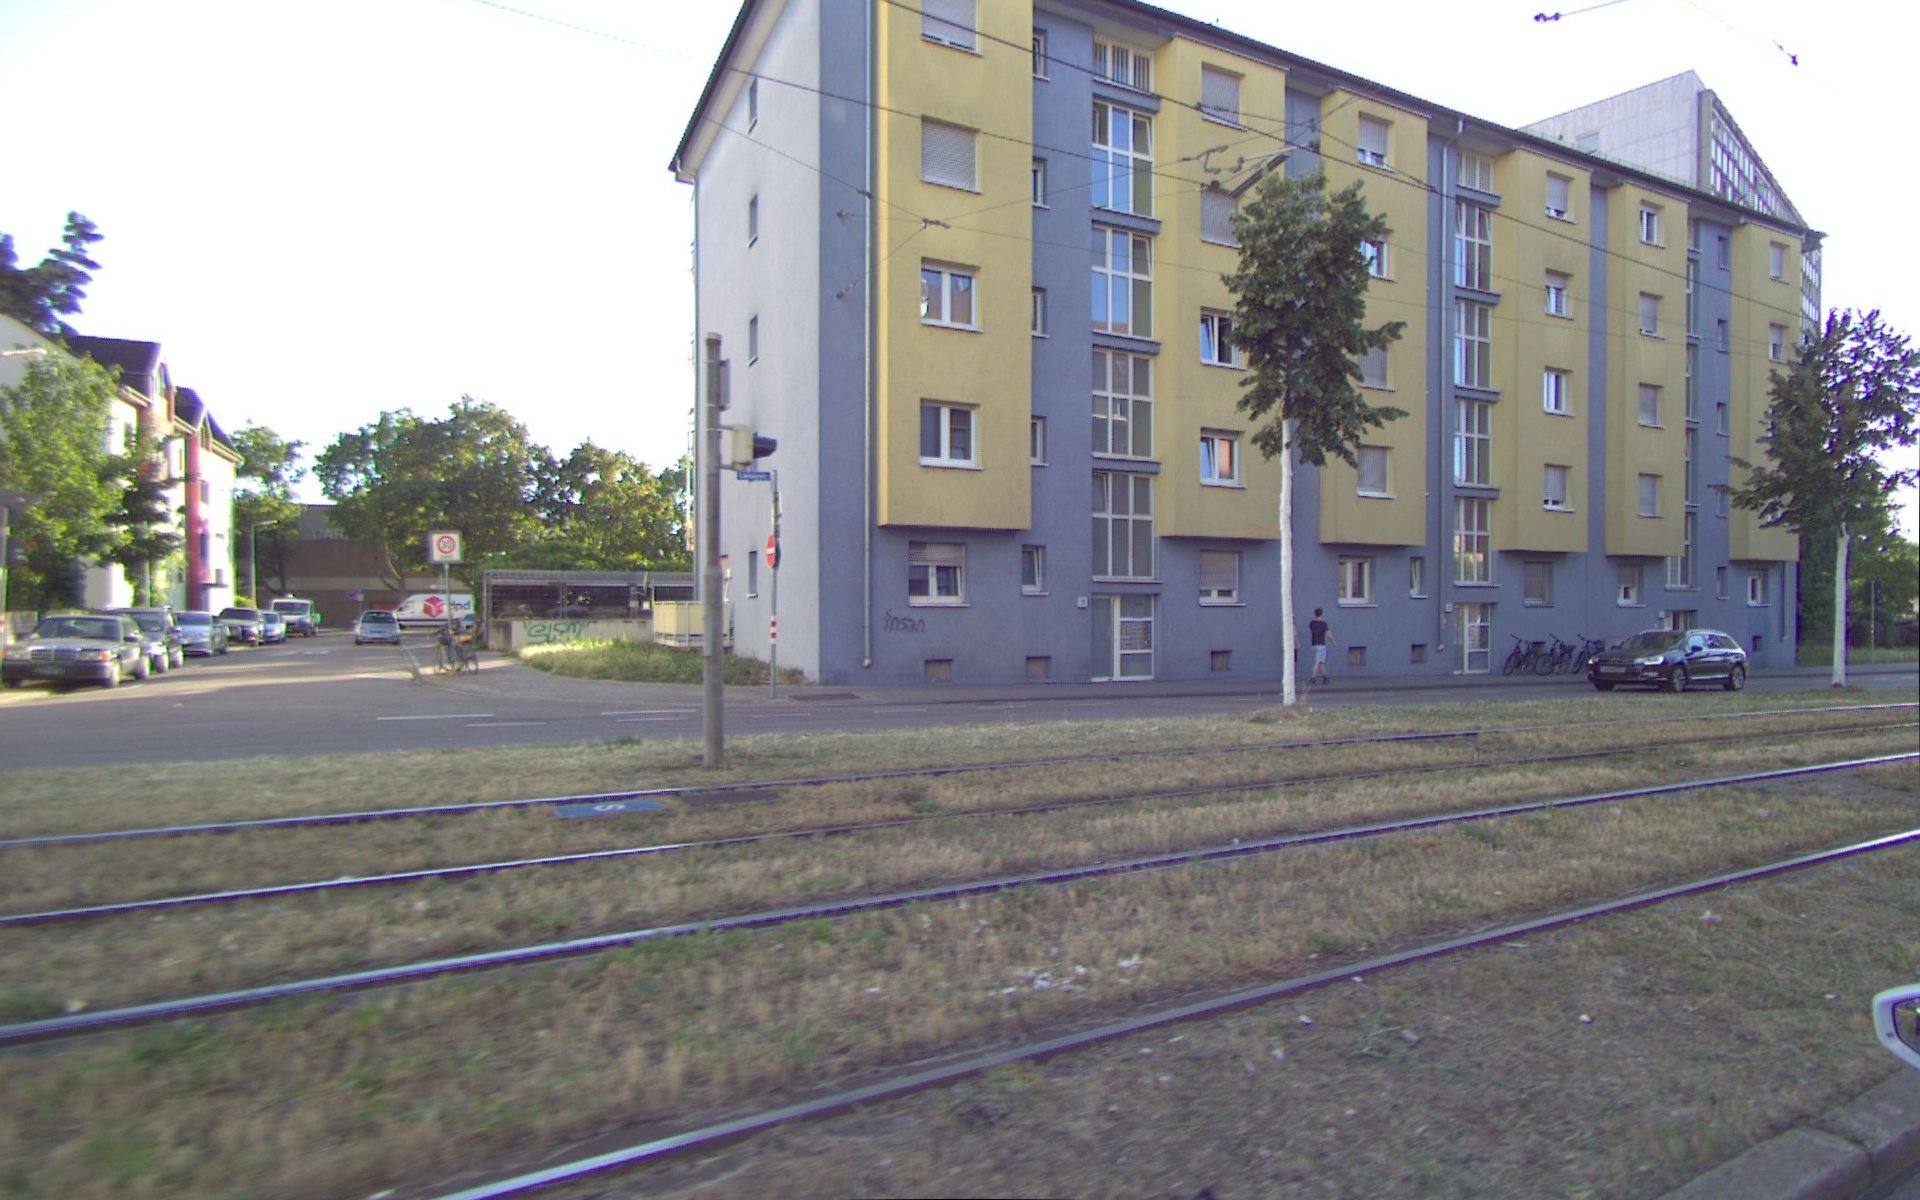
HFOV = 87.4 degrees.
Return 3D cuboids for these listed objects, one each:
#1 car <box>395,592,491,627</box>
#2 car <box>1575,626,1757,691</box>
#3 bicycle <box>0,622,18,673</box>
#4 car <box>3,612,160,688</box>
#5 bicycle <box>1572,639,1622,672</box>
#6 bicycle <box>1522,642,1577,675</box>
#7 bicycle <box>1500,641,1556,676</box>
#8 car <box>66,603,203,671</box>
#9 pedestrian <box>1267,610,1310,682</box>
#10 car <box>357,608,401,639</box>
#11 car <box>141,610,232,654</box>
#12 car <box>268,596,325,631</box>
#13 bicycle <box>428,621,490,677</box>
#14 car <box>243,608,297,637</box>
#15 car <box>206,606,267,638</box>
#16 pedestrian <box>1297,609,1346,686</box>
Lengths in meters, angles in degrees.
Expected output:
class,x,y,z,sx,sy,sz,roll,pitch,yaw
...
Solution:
class,x,y,z,sx,sy,sz,roll,pitch,yaw
car,-39.454,0.721,76.817,6.114,2.586,2.310,1,0,-14
car,17.515,1.441,24.880,4.737,1.488,1.786,2,-3,-29
bicycle,-20.919,1.020,21.770,0.453,1.074,1.923,1,-2,-35
car,-17.395,0.923,20.079,1.682,1.311,3.842,1,0,-31
bicycle,19.674,1.697,31.023,1.887,0.972,0.425,1,-1,-27
bicycle,17.563,1.736,29.926,1.887,0.938,0.425,1,3,-27
bicycle,16.521,1.688,29.204,1.887,0.937,0.425,1,3,-27
car,-20.181,0.864,24.749,1.876,1.528,3.969,1,-1,-29
pedestrian,8.092,1.123,24.764,0.697,1.718,0.613,0,4,-29
car,-26.647,1.073,46.160,1.624,1.349,3.970,1,-1,-29
car,-24.643,0.986,32.117,1.680,1.321,3.537,1,-1,-28
car,-39.576,0.816,60.037,1.933,2.004,5.675,1,-1,-24
bicycle,-10.787,1.024,21.587,0.599,1.090,1.935,-3,2,-45
car,-34.434,1.106,50.190,1.680,1.378,3.818,1,-1,-27
car,-32.410,0.976,45.112,1.680,1.378,3.816,1,-1,-28
pedestrian,8.685,1.126,24.122,0.875,1.797,0.590,0,4,-29
